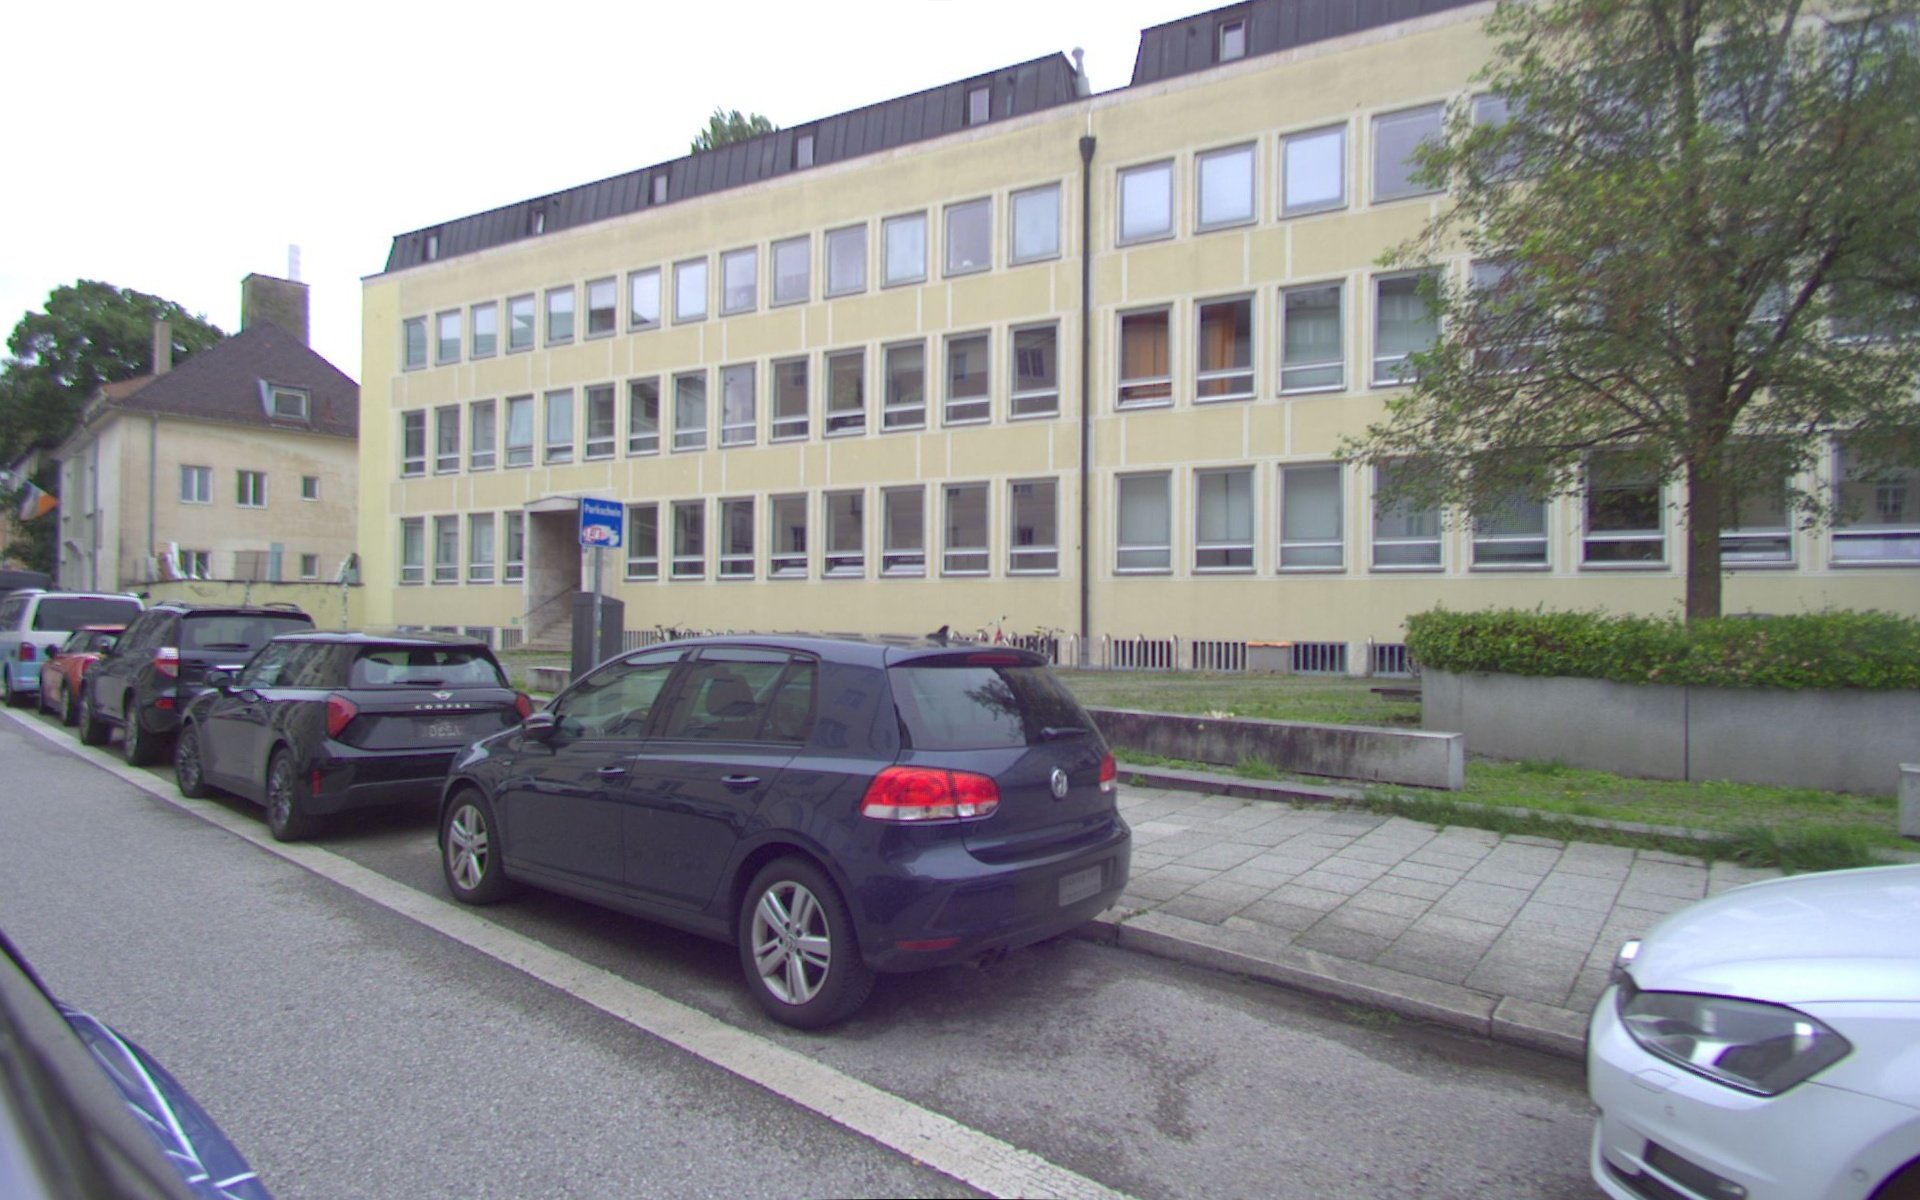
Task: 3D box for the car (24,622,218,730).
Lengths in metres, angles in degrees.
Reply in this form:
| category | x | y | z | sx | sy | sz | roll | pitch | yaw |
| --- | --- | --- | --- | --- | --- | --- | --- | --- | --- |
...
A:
| category | x | y | z | sx | sy | sz | roll | pitch | yaw |
| --- | --- | --- | --- | --- | --- | --- | --- | --- | --- |
| car | -12.913 | 1.060 | 15.491 | 3.917 | 1.398 | 1.725 | -1 | -1 | 42 |

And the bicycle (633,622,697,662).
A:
| category | x | y | z | sx | sy | sz | roll | pitch | yaw |
| --- | --- | --- | --- | --- | --- | --- | --- | --- | --- |
| bicycle | -8.123 | 1.144 | 27.944 | 0.577 | 1.022 | 1.937 | -1 | 0 | 24 |

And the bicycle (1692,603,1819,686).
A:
| category | x | y | z | sx | sy | sz | roll | pitch | yaw |
| --- | --- | --- | --- | --- | --- | --- | --- | --- | --- |
| bicycle | 12.988 | 0.691 | 16.623 | 1.050 | 1.258 | 2.422 | -1 | -1 | 24 |

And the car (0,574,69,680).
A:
| category | x | y | z | sx | sy | sz | roll | pitch | yaw |
| --- | --- | --- | --- | --- | --- | --- | --- | --- | --- |
| car | -26.050 | 0.720 | 27.431 | 5.653 | 2.666 | 2.272 | -1 | -3 | 43 |

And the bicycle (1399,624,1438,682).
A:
| category | x | y | z | sx | sy | sz | roll | pitch | yaw |
| --- | --- | --- | --- | --- | --- | --- | --- | --- | --- |
| bicycle | 8.583 | 0.968 | 18.956 | 0.622 | 1.022 | 1.937 | -1 | -1 | 24 |

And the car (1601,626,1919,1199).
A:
| category | x | y | z | sx | sy | sz | roll | pitch | yaw |
| --- | --- | --- | --- | --- | --- | --- | --- | --- | --- |
| car | 3.332 | 0.794 | 1.325 | 4.068 | 1.465 | 1.640 | -1 | -3 | 39 |

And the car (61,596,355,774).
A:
| category | x | y | z | sx | sy | sz | roll | pitch | yaw |
| --- | --- | --- | --- | --- | --- | --- | --- | --- | --- |
| car | -8.820 | 0.892 | 11.724 | 4.446 | 1.679 | 1.725 | -1 | -5 | 41 |

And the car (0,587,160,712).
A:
| category | x | y | z | sx | sy | sz | roll | pitch | yaw |
| --- | --- | --- | --- | --- | --- | --- | --- | --- | --- |
| car | -16.534 | 0.849 | 18.492 | 5.017 | 1.994 | 1.909 | -1 | -2 | 39 |

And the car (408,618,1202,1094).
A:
| category | x | y | z | sx | sy | sz | roll | pitch | yaw |
| --- | --- | --- | --- | --- | --- | --- | --- | --- | --- |
| car | -0.991 | 0.852 | 5.038 | 3.969 | 1.465 | 1.640 | -1 | -3 | 39 |

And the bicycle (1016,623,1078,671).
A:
| category | x | y | z | sx | sy | sz | roll | pitch | yaw |
| --- | --- | --- | --- | --- | --- | --- | --- | --- | --- |
| bicycle | 1.991 | 1.041 | 22.953 | 0.623 | 1.022 | 1.932 | -1 | -1 | 31 |

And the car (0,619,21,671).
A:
| category | x | y | z | sx | sy | sz | roll | pitch | yaw |
| --- | --- | --- | --- | --- | --- | --- | --- | --- | --- |
| car | -30.042 | 1.349 | 30.727 | 3.484 | 1.505 | 1.685 | -1 | -1 | 37 |

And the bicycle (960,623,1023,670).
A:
| category | x | y | z | sx | sy | sz | roll | pitch | yaw |
| --- | --- | --- | --- | --- | --- | --- | --- | --- | --- |
| bicycle | 0.761 | 1.067 | 23.686 | 0.623 | 1.022 | 1.932 | -1 | -1 | 31 |

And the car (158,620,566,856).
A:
| category | x | y | z | sx | sy | sz | roll | pitch | yaw |
| --- | --- | --- | --- | --- | --- | --- | --- | --- | --- |
| car | -4.968 | 0.919 | 8.208 | 3.867 | 1.465 | 1.663 | -1 | -3 | 41 |

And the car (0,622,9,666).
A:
| category | x | y | z | sx | sy | sz | roll | pitch | yaw |
| --- | --- | --- | --- | --- | --- | --- | --- | --- | --- |
| car | -33.372 | 1.454 | 33.926 | 4.067 | 1.436 | 1.676 | -1 | -2 | 40 |
